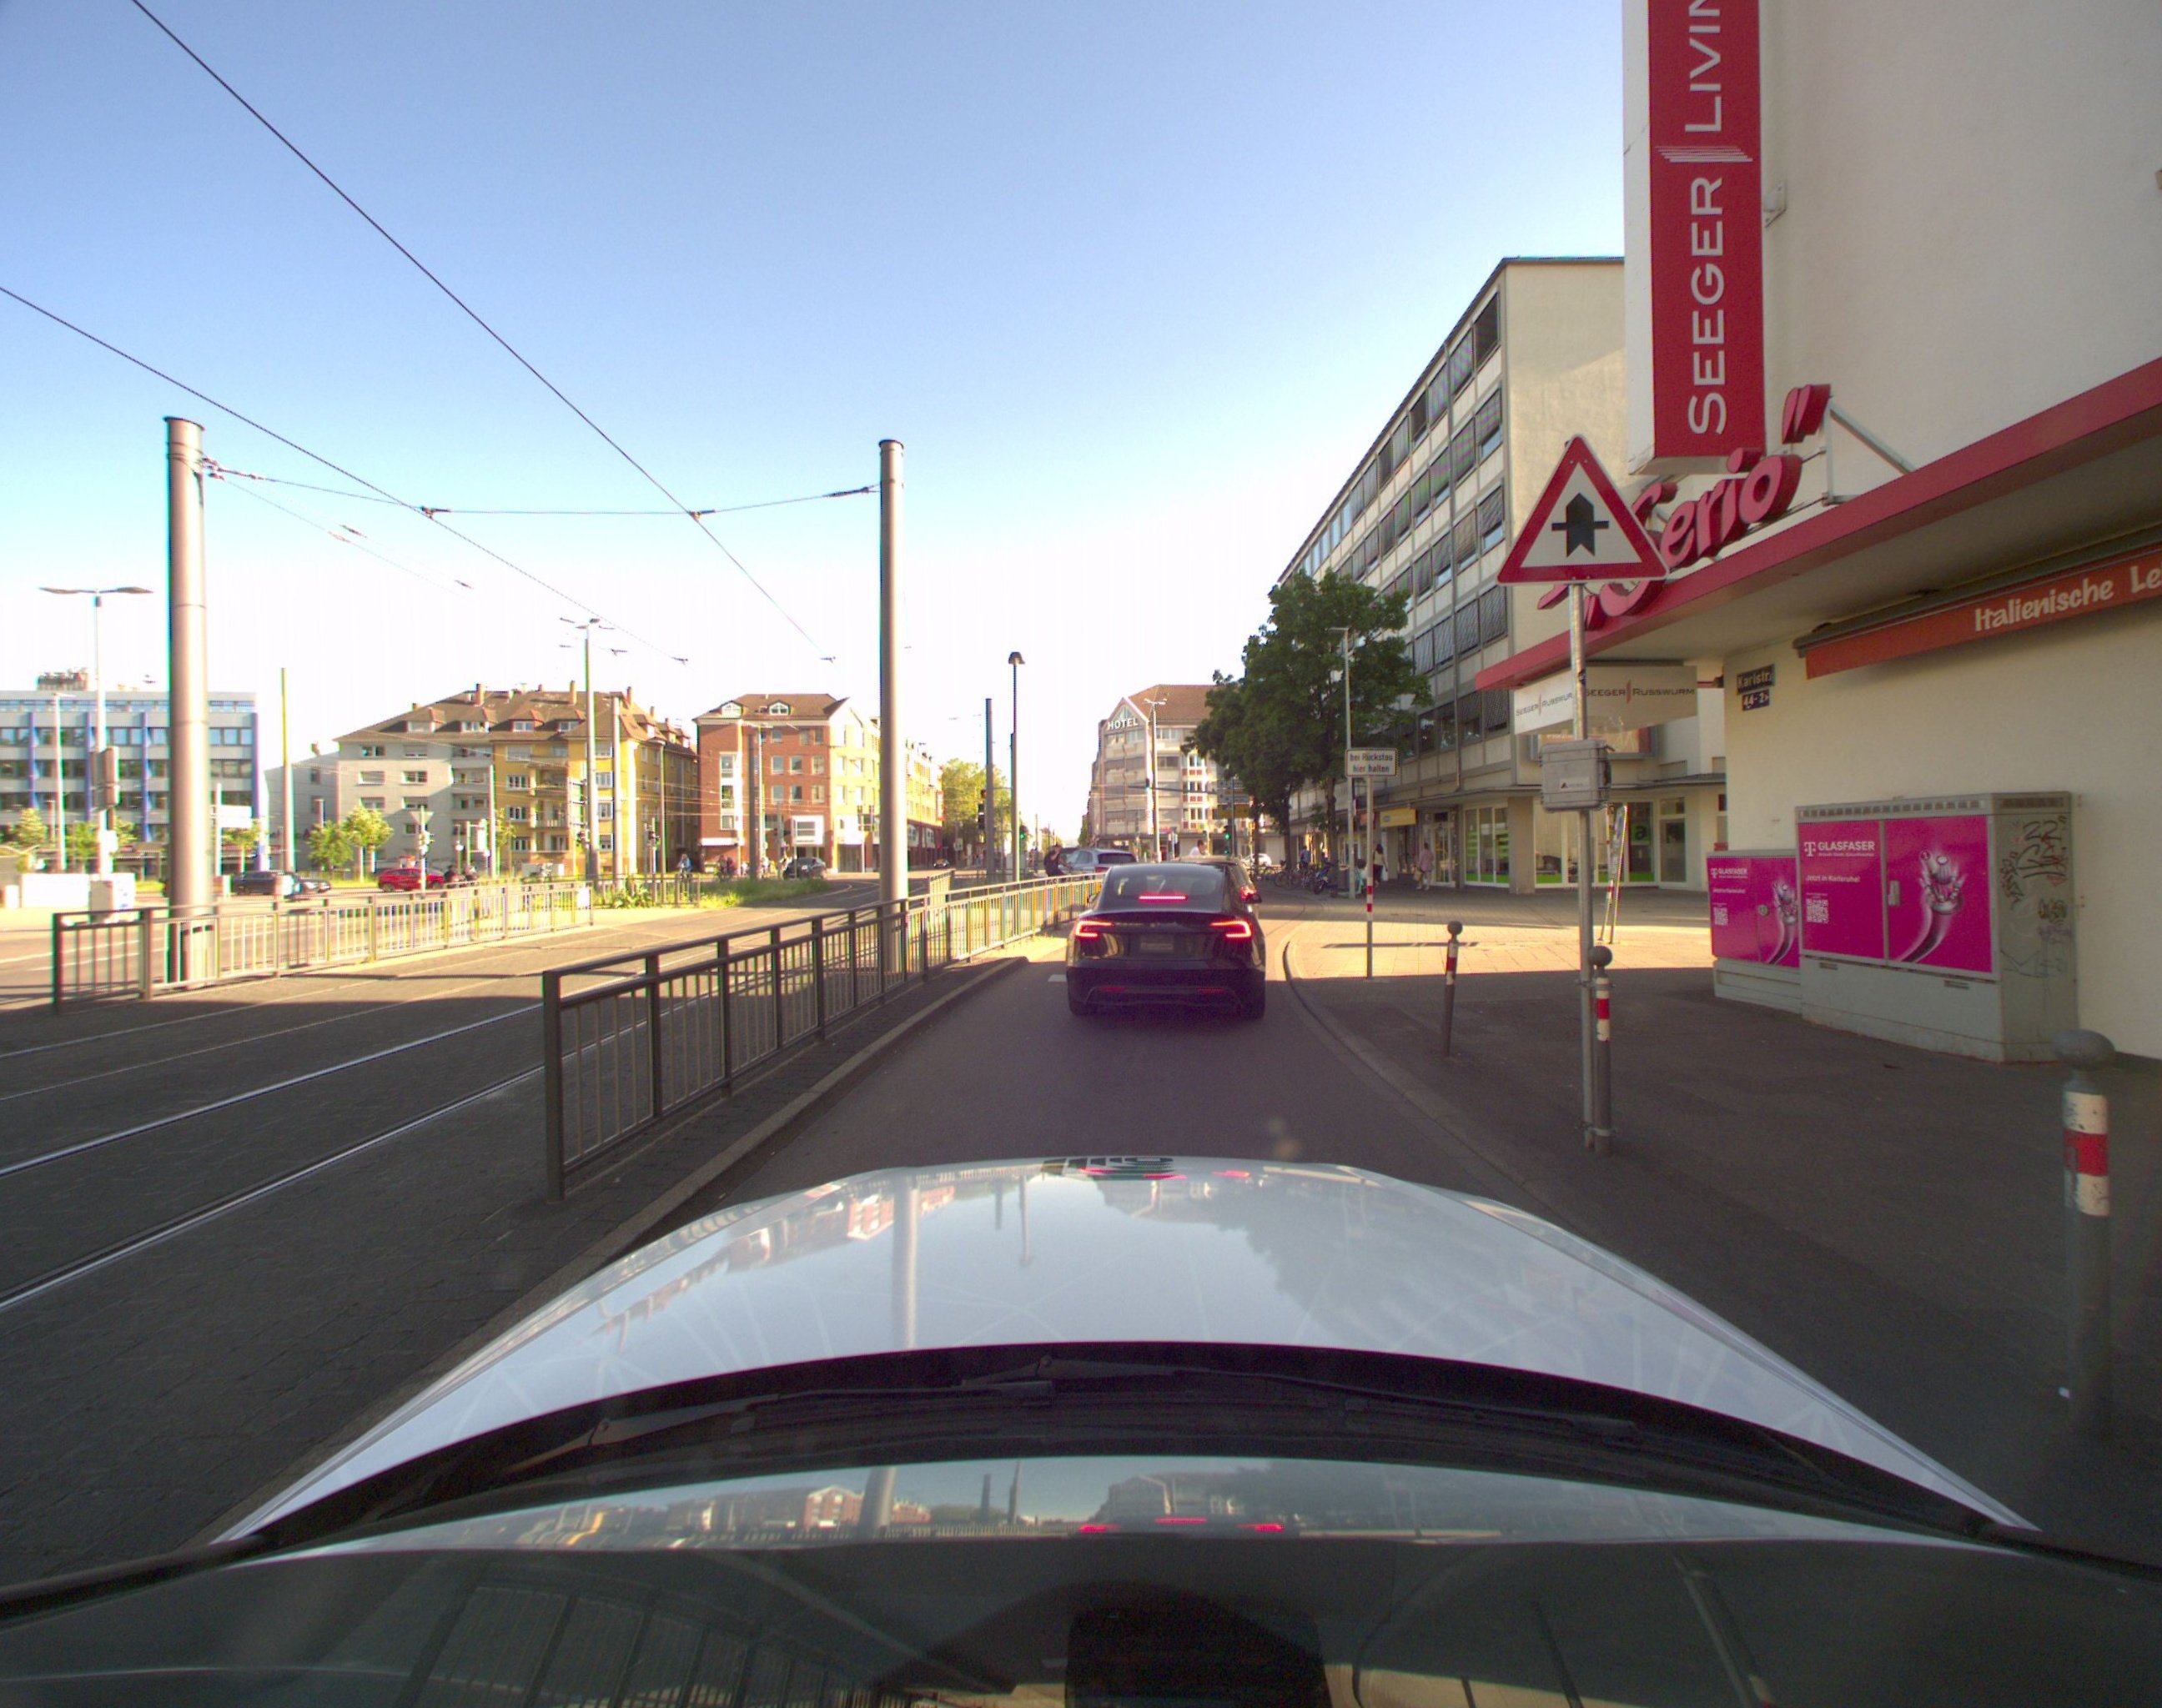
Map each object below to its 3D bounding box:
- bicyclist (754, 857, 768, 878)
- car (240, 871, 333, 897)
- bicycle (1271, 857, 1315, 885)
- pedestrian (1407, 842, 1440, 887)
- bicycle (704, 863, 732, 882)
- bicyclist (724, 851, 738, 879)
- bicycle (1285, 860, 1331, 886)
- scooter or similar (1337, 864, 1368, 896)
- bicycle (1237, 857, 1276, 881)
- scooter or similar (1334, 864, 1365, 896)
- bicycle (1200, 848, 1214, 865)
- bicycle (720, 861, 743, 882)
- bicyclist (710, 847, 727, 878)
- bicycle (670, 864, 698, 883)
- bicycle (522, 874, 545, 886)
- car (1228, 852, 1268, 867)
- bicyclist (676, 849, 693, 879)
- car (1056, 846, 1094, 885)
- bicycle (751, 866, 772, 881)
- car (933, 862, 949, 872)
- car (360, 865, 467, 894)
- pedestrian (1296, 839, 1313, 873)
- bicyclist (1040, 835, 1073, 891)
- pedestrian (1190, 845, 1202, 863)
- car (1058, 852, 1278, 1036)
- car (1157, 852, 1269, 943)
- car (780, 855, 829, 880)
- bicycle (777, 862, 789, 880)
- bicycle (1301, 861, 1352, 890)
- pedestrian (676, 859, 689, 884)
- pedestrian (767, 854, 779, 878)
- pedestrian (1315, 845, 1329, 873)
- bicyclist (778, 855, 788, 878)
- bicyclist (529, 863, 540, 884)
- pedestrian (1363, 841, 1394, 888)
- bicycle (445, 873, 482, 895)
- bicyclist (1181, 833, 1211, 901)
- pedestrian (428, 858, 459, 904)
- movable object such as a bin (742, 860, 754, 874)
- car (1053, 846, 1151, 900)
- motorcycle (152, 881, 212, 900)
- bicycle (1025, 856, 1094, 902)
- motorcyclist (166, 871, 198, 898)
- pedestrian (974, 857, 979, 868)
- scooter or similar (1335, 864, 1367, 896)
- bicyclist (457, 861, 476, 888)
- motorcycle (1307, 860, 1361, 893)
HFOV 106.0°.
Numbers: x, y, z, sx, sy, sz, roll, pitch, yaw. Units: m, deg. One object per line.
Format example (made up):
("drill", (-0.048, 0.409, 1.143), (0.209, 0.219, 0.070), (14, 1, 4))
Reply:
("bicyclist", (-22.307, 0.915, 56.763), (0.661, 1.454, 0.731), (0, -1, 3))
("car", (-46.367, 1.731, 47.568), (3.695, 1.472, 1.572), (0, -1, -6))
("bicycle", (9.179, 0.748, 35.294), (1.805, 1.151, 0.435), (-1, -1, -3))
("pedestrian", (12.438, 0.390, 29.599), (0.840, 1.602, 0.880), (0, -1, 1))
("bicycle", (-19.738, 1.009, 44.304), (0.527, 1.013, 1.899), (0, -1, 4))
("bicyclist", (-21.468, 0.685, 49.975), (0.518, 1.673, 0.771), (0, -1, 3))
("bicycle", (9.261, 0.775, 33.254), (1.758, 1.057, 0.459), (0, -1, 6))
("scooter or similar", (8.940, 0.845, 26.823), (0.959, 1.043, 0.160), (-1, 0, 4))
("bicycle", (9.120, 0.763, 42.420), (1.882, 1.156, 0.480), (-2, -1, 2))
("scooter or similar", (8.969, 0.870, 27.221), (0.959, 1.027, 0.160), (-1, 0, 4))
("bicycle", (10.960, 0.249, 70.717), (0.583, 1.463, 1.678), (-1, 0, -13))
("bicycle", (-21.468, 1.061, 50.047), (0.527, 1.214, 1.887), (0, -1, 4))
("bicyclist", (-19.738, 0.478, 44.370), (0.522, 1.673, 0.771), (0, -1, 3))
("bicycle", (-22.081, 1.074, 45.324), (0.527, 1.013, 1.887), (0, -1, 4))
("bicycle", (-35.085, 1.687, 52.233), (1.174, 0.764, 0.318), (0, -1, -15))
("car", (17.637, 0.595, 86.247), (3.832, 1.432, 1.801), (-1, -2, -4))
("bicyclist", (-22.082, 0.568, 45.329), (0.518, 1.673, 0.771), (0, -1, 3))
("car", (-0.263, 0.497, 35.458), (1.568, 1.618, 3.782), (0, -1, 0))
("bicycle", (-22.309, 1.341, 56.924), (0.647, 1.013, 1.887), (0, -1, 4))
("car", (-20.459, 1.874, 118.926), (1.814, 1.454, 3.971), (-2, 0, -4))
("car", (-39.385, 1.491, 48.153), (4.548, 1.509, 1.777), (-2, 0, -9))
("pedestrian", (11.771, 0.111, 42.952), (0.837, 1.721, 0.883), (-1, -1, 13))
("bicyclist", (-0.675, 0.250, 22.445), (0.685, 1.523, 0.629), (0, -1, -29))
("pedestrian", (9.933, -0.033, 70.646), (0.780, 1.576, 0.864), (0, 1, -13))
("car", (0.891, 0.732, 8.610), (1.782, 1.450, 3.946), (0, 1, 5))
("car", (2.363, 0.693, 15.261), (1.755, 1.444, 4.537), (0, 0, 7))
("car", (-18.309, 0.871, 54.119), (1.678, 1.560, 4.124), (0, -1, 2))
("bicycle", (-21.854, 1.230, 59.695), (0.574, 1.291, 2.018), (0, -1, -12))
("bicycle", (9.434, 0.823, 31.261), (1.850, 1.056, 0.398), (-2, 0, -10))
("pedestrian", (-27.895, 1.216, 56.987), (0.624, 1.688, 0.703), (0, 1, -11))
("pedestrian", (-25.936, 1.006, 68.552), (0.592, 2.014, 0.831), (0, -1, 4))
("pedestrian", (12.653, 0.267, 42.700), (0.640, 1.422, 0.623), (-1, -1, 12))
("bicyclist", (-21.831, 0.897, 59.639), (0.589, 1.649, 0.803), (0, -1, -13))
("bicyclist", (-35.065, 1.268, 52.267), (0.459, 1.316, 0.398), (0, -1, -14))
("pedestrian", (11.203, 0.393, 30.680), (0.840, 1.707, 0.880), (0, -1, 1))
("bicycle", (-34.809, 1.661, 45.942), (1.497, 1.133, 0.609), (-3, 0, -13))
("bicyclist", (2.797, 0.307, 19.844), (0.677, 1.631, 0.579), (0, -1, 6))
("pedestrian", (-27.530, 1.163, 35.171), (0.716, 1.934, 0.802), (-1, -1, 22))
("movable object such as a bin", (-35.996, 1.409, 88.040), (0.995, 1.437, 1.093), (0, -1, -8))
("car", (0.604, 0.588, 26.449), (1.848, 1.635, 3.457), (0, -1, -25))
("motorcycle", (-51.746, 2.097, 46.894), (2.355, 0.984, 0.790), (0, -1, -6))
("bicycle", (-0.580, 0.676, 22.490), (1.831, 1.212, 0.635), (0, -1, -29))
("motorcyclist", (-51.765, 1.746, 46.891), (0.919, 1.524, 0.781), (0, -1, -5))
("pedestrian", (-14.051, 1.158, 109.673), (0.584, 1.531, 0.634), (0, -1, -16))
("scooter or similar", (8.955, 0.859, 27.021), (0.952, 1.039, 0.160), (-1, 0, 4))
("bicyclist", (-34.685, 1.136, 45.981), (0.615, 1.493, 0.607), (0, -1, -12))
("motorcycle", (9.054, 0.795, 29.131), (1.781, 1.130, 0.504), (0, -1, -1))
